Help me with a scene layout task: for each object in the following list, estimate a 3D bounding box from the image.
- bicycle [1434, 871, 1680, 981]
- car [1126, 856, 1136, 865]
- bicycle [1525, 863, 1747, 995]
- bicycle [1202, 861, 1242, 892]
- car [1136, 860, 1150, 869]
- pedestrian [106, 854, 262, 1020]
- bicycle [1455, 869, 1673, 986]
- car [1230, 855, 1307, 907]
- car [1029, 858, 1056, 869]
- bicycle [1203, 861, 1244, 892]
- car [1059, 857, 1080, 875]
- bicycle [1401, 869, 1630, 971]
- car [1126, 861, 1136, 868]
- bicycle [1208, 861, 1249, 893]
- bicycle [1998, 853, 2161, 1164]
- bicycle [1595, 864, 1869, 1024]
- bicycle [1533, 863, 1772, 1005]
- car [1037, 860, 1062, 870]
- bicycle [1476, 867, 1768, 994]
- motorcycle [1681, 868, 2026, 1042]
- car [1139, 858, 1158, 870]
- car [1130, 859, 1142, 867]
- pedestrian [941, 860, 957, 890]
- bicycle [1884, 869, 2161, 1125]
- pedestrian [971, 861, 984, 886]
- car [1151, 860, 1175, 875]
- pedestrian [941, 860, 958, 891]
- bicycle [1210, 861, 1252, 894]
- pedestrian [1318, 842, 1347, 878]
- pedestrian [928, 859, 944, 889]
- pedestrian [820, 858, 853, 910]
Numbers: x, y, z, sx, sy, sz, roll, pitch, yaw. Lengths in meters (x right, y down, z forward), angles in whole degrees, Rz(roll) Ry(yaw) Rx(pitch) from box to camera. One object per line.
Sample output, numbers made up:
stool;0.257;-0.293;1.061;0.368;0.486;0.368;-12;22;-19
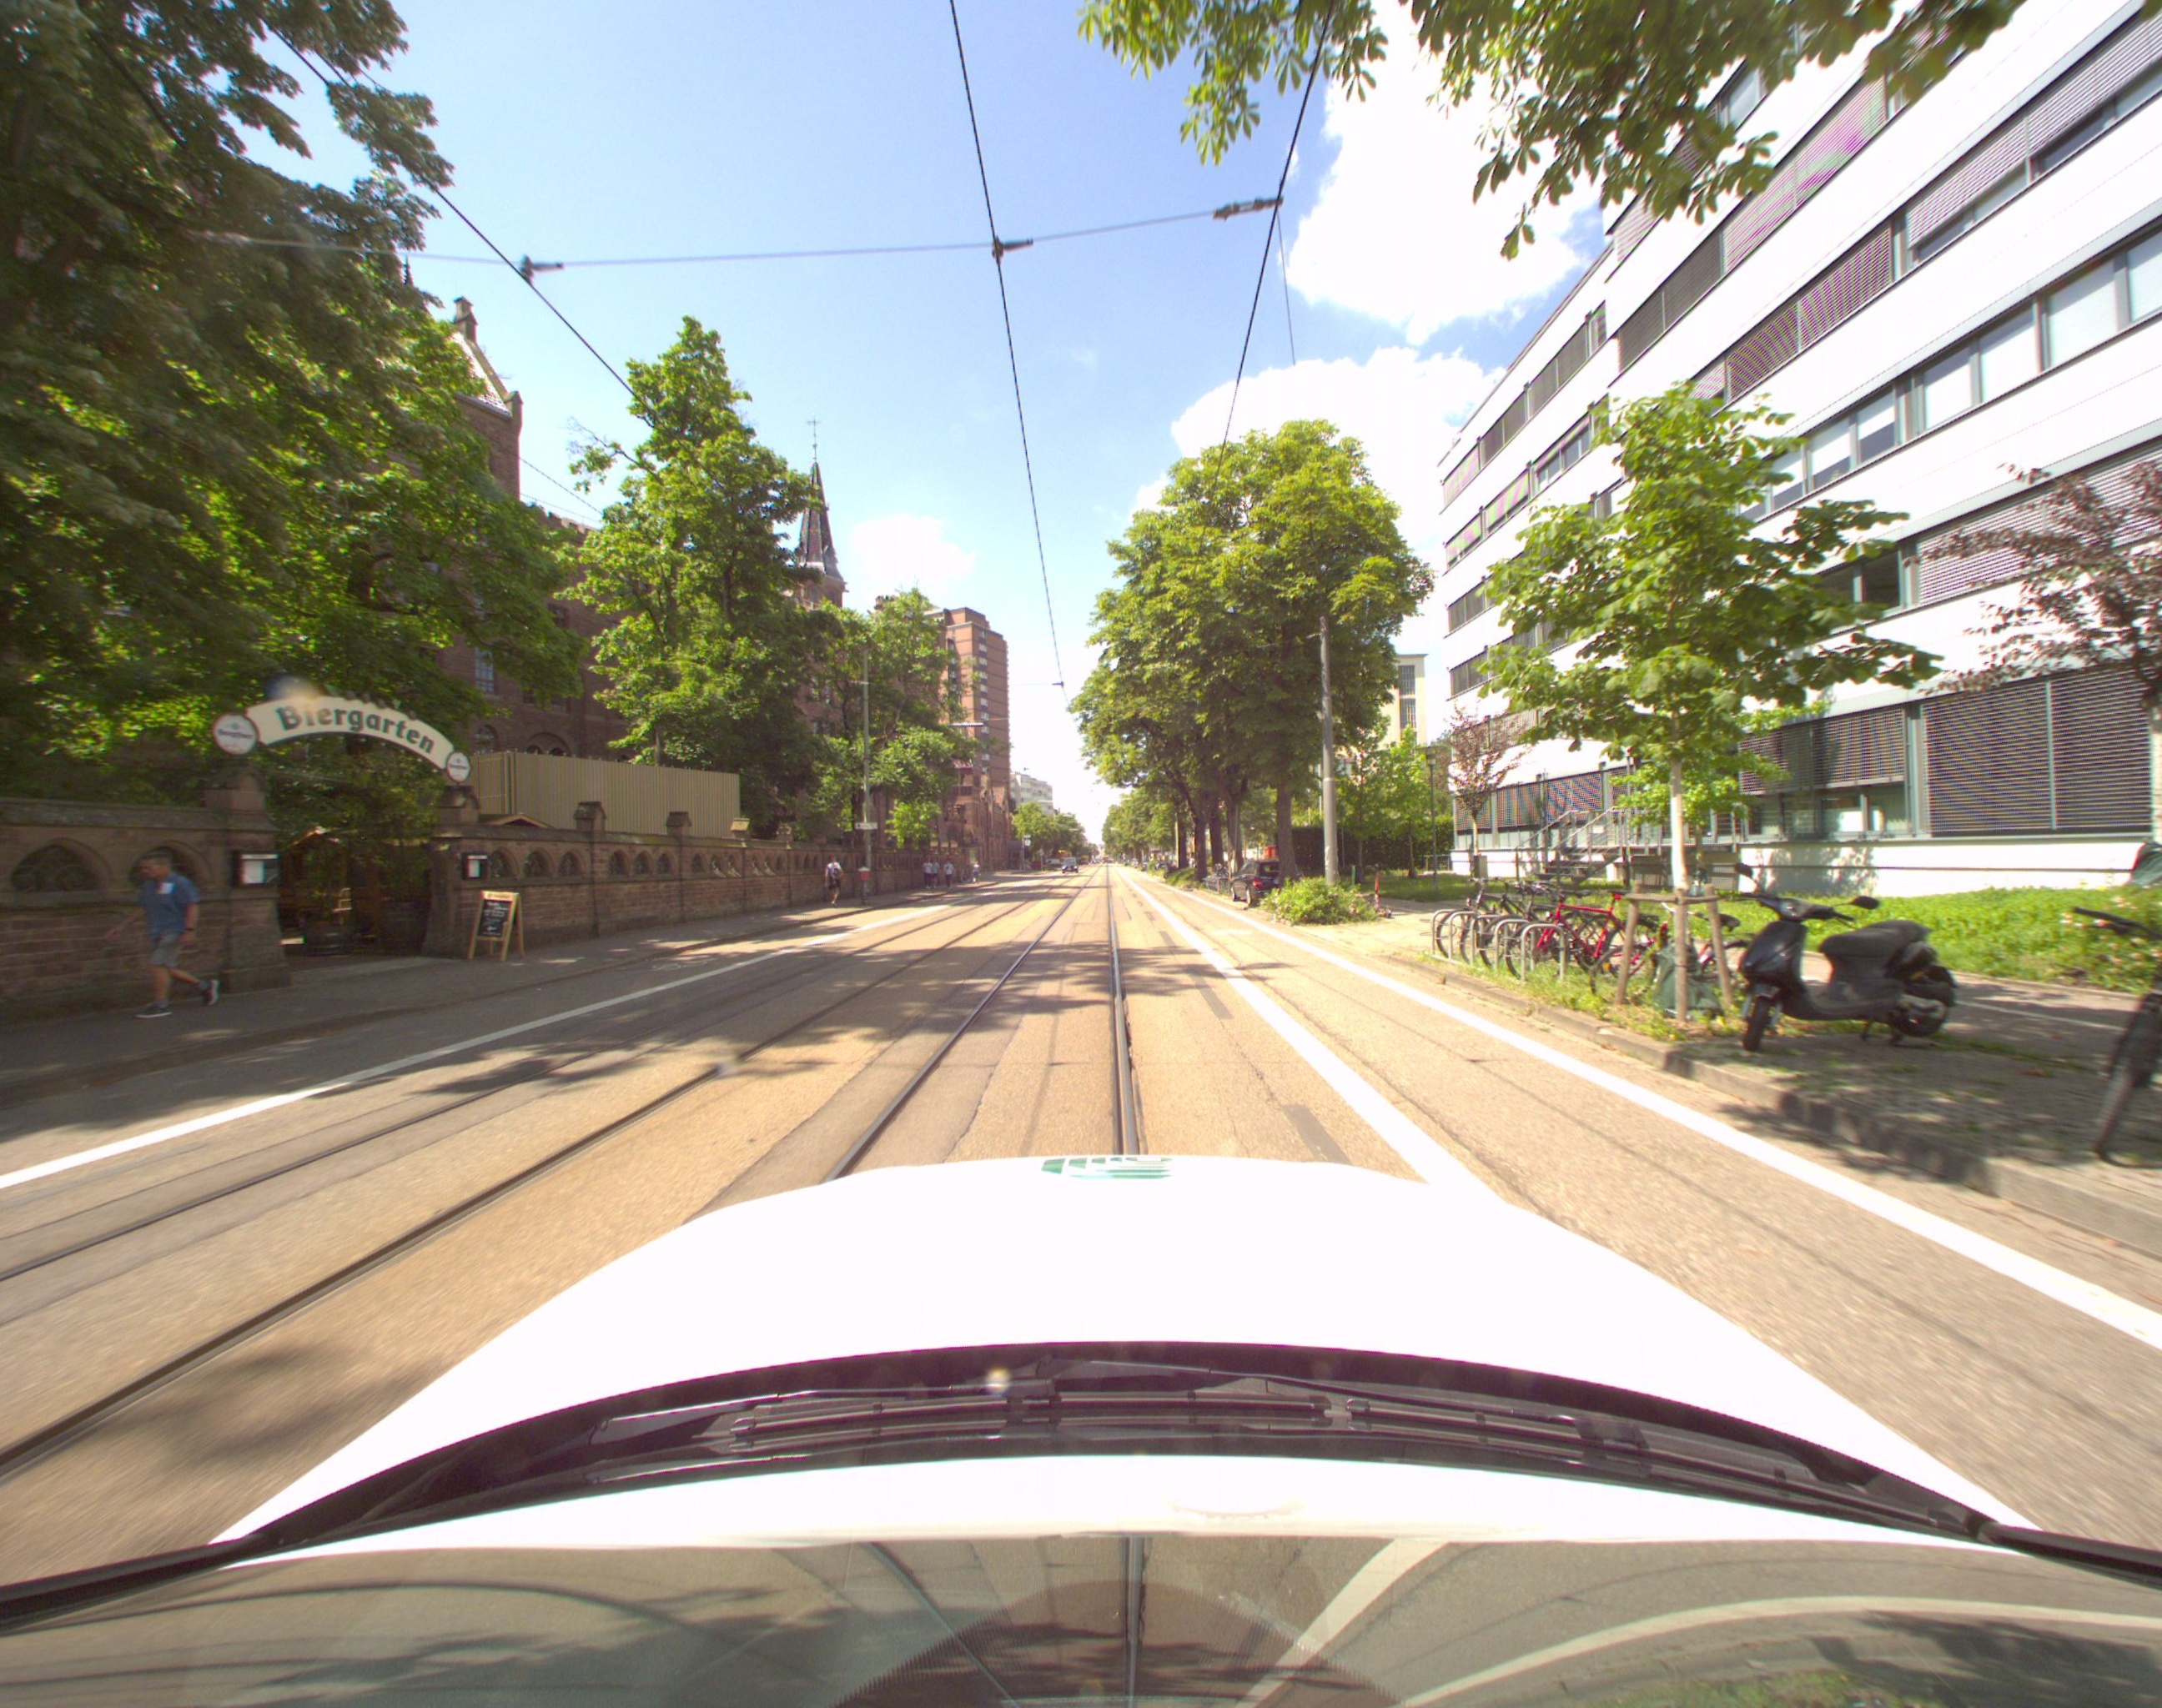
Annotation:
bicycle;5.659;0.851;9.793;2.498;1.209;0.623;-2;-1;5
car;11.043;1.502;181.257;1.986;1.904;4.001;-2;-1;2
bicycle;5.242;0.689;7.739;1.747;1.166;0.530;-1;-1;-2
bicycle;5.866;0.929;33.978;1.558;1.241;0.437;-2;-1;3
car;9.691;1.600;127.790;1.986;1.310;4.001;-2;-1;2
pedestrian;-9.878;0.873;9.001;0.740;1.728;0.867;-1;-1;1
bicycle;5.383;0.807;9.174;1.987;1.209;0.663;-2;-1;5
car;6.002;0.824;26.456;1.628;1.501;4.001;-2;-1;2
car;-6.292;1.584;133.218;4.012;1.804;1.981;1;0;-31
bicycle;5.852;0.926;33.449;1.558;1.241;0.437;-2;-1;3
car;-1.262;1.379;93.845;1.985;2.014;4.004;-2;-1;4
bicycle;5.586;0.846;10.599;2.498;1.209;0.742;-2;-1;5
car;10.466;2.222;171.606;1.986;1.310;4.001;-2;-1;2
bicycle;5.950;0.922;32.864;1.558;1.241;0.437;-2;-1;3
bicycle;5.288;0.625;3.659;1.747;1.271;0.530;-1;-1;-2
bicycle;5.126;0.683;6.459;1.747;1.166;0.530;-1;-1;-2
bicycle;5.046;0.686;7.240;1.747;1.166;0.530;-1;-1;-2
car;-6.483;2.243;166.377;4.753;1.717;1.983;-2;-1;-26
bicycle;5.557;0.783;8.490;2.498;1.209;0.649;-2;-1;5
motorcycle;5.415;0.688;5.779;1.817;1.110;0.598;-2;-1;1
car;8.060;1.170;97.242;1.986;1.310;4.001;-2;-1;2
car;9.518;1.603;140.809;1.986;1.310;4.001;-2;-1;2
pedestrian;-7.826;1.228;48.152;0.740;1.728;0.867;-1;-1;1
bicycle;5.223;0.679;4.150;1.747;1.166;0.530;-1;-1;-2
pedestrian;-7.286;1.353;57.331;0.740;1.728;0.867;-1;-1;0
car;7.599;1.234;75.737;1.986;1.310;4.001;-2;-1;2
pedestrian;-7.548;1.224;46.726;0.740;1.728;0.867;-1;-1;1
bicycle;5.964;0.925;32.359;1.558;1.241;0.437;-2;-1;3
pedestrian;13.067;0.328;42.335;1.212;1.827;0.831;-2;-1;-2
pedestrian;-8.586;1.198;48.205;0.740;1.728;0.867;-1;-1;1
pedestrian;-8.541;1.022;28.474;0.812;1.770;0.925;-1;-1;1
